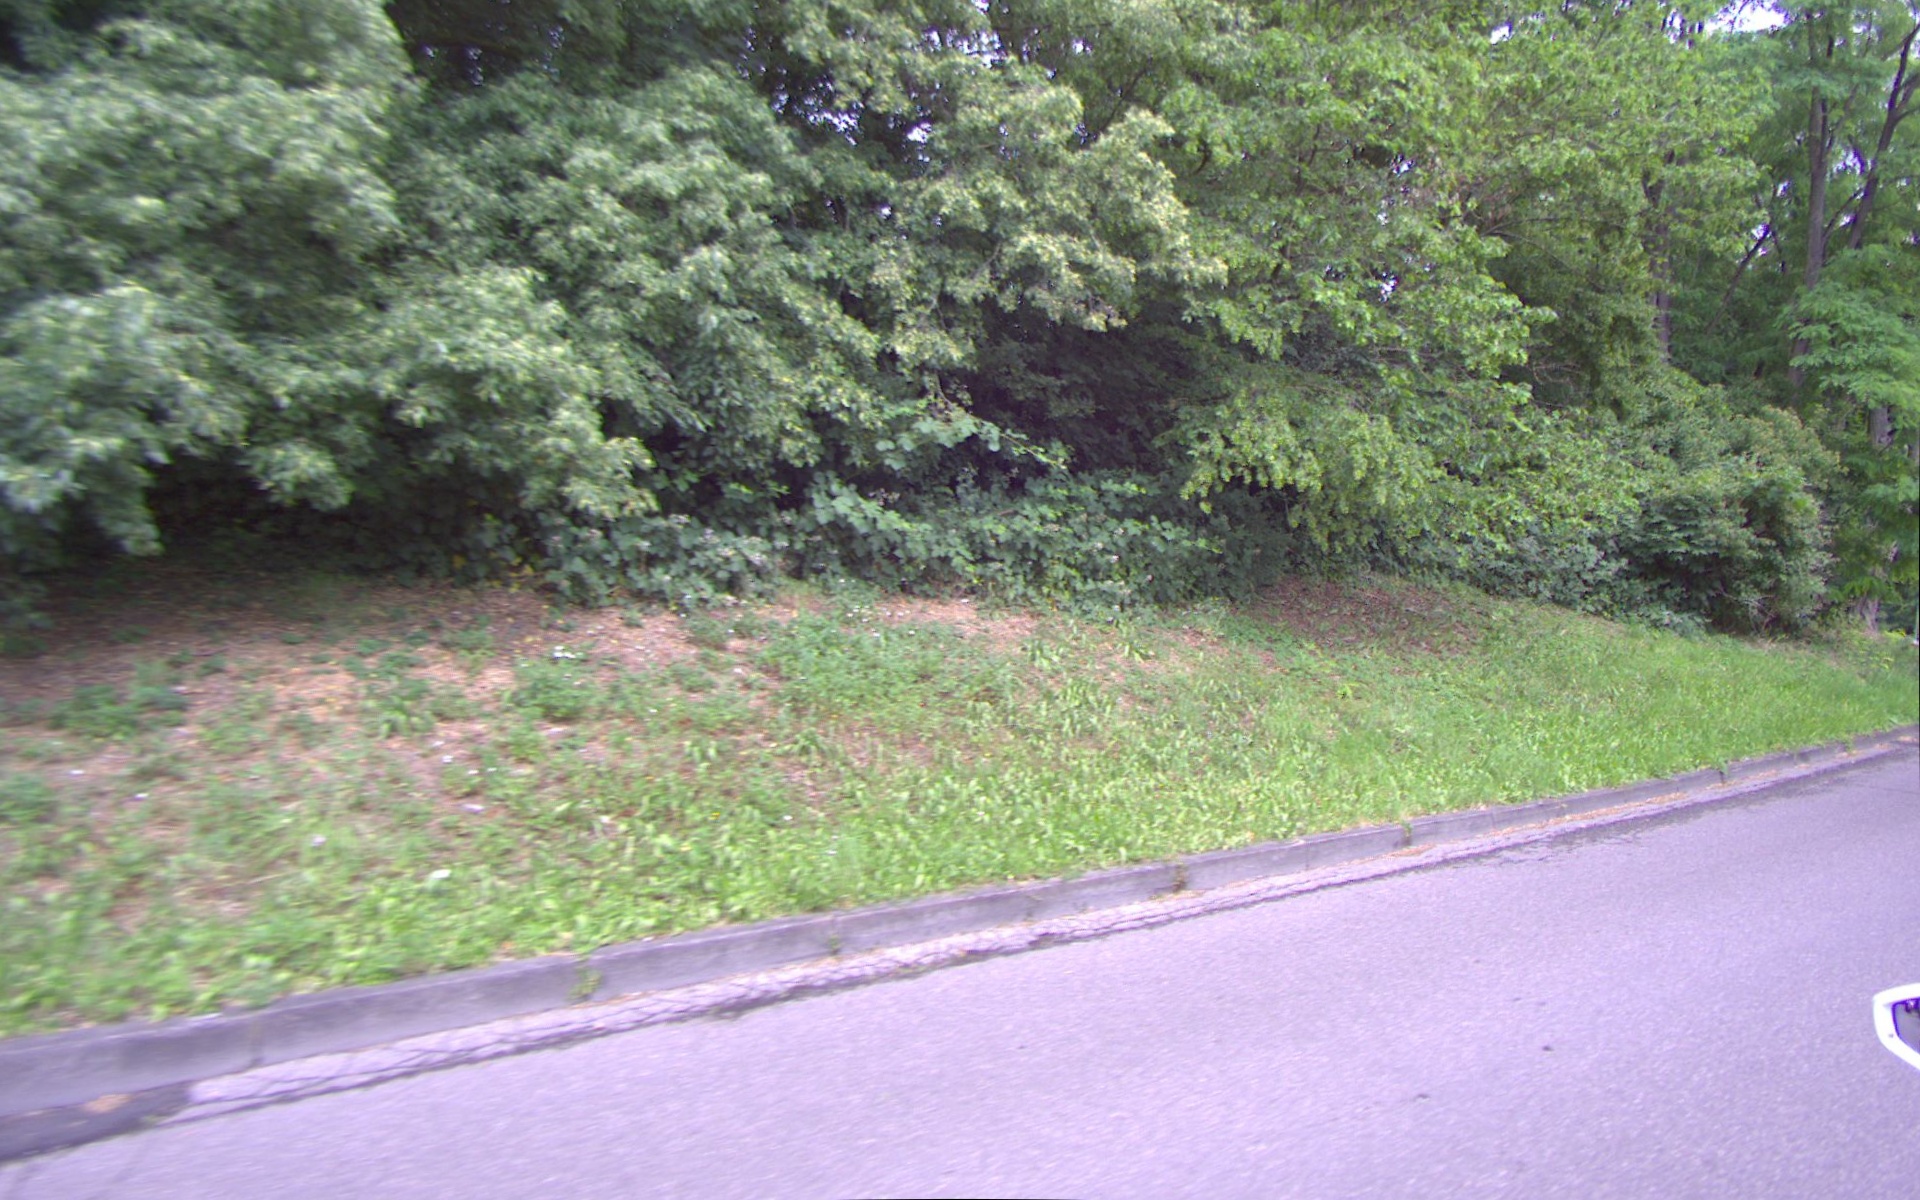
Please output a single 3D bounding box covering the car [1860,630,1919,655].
[{"bbox_3d":[63.198,2.851,68.275,1.710,1.583,3.999,2,-1,22],"label":"car"}]
